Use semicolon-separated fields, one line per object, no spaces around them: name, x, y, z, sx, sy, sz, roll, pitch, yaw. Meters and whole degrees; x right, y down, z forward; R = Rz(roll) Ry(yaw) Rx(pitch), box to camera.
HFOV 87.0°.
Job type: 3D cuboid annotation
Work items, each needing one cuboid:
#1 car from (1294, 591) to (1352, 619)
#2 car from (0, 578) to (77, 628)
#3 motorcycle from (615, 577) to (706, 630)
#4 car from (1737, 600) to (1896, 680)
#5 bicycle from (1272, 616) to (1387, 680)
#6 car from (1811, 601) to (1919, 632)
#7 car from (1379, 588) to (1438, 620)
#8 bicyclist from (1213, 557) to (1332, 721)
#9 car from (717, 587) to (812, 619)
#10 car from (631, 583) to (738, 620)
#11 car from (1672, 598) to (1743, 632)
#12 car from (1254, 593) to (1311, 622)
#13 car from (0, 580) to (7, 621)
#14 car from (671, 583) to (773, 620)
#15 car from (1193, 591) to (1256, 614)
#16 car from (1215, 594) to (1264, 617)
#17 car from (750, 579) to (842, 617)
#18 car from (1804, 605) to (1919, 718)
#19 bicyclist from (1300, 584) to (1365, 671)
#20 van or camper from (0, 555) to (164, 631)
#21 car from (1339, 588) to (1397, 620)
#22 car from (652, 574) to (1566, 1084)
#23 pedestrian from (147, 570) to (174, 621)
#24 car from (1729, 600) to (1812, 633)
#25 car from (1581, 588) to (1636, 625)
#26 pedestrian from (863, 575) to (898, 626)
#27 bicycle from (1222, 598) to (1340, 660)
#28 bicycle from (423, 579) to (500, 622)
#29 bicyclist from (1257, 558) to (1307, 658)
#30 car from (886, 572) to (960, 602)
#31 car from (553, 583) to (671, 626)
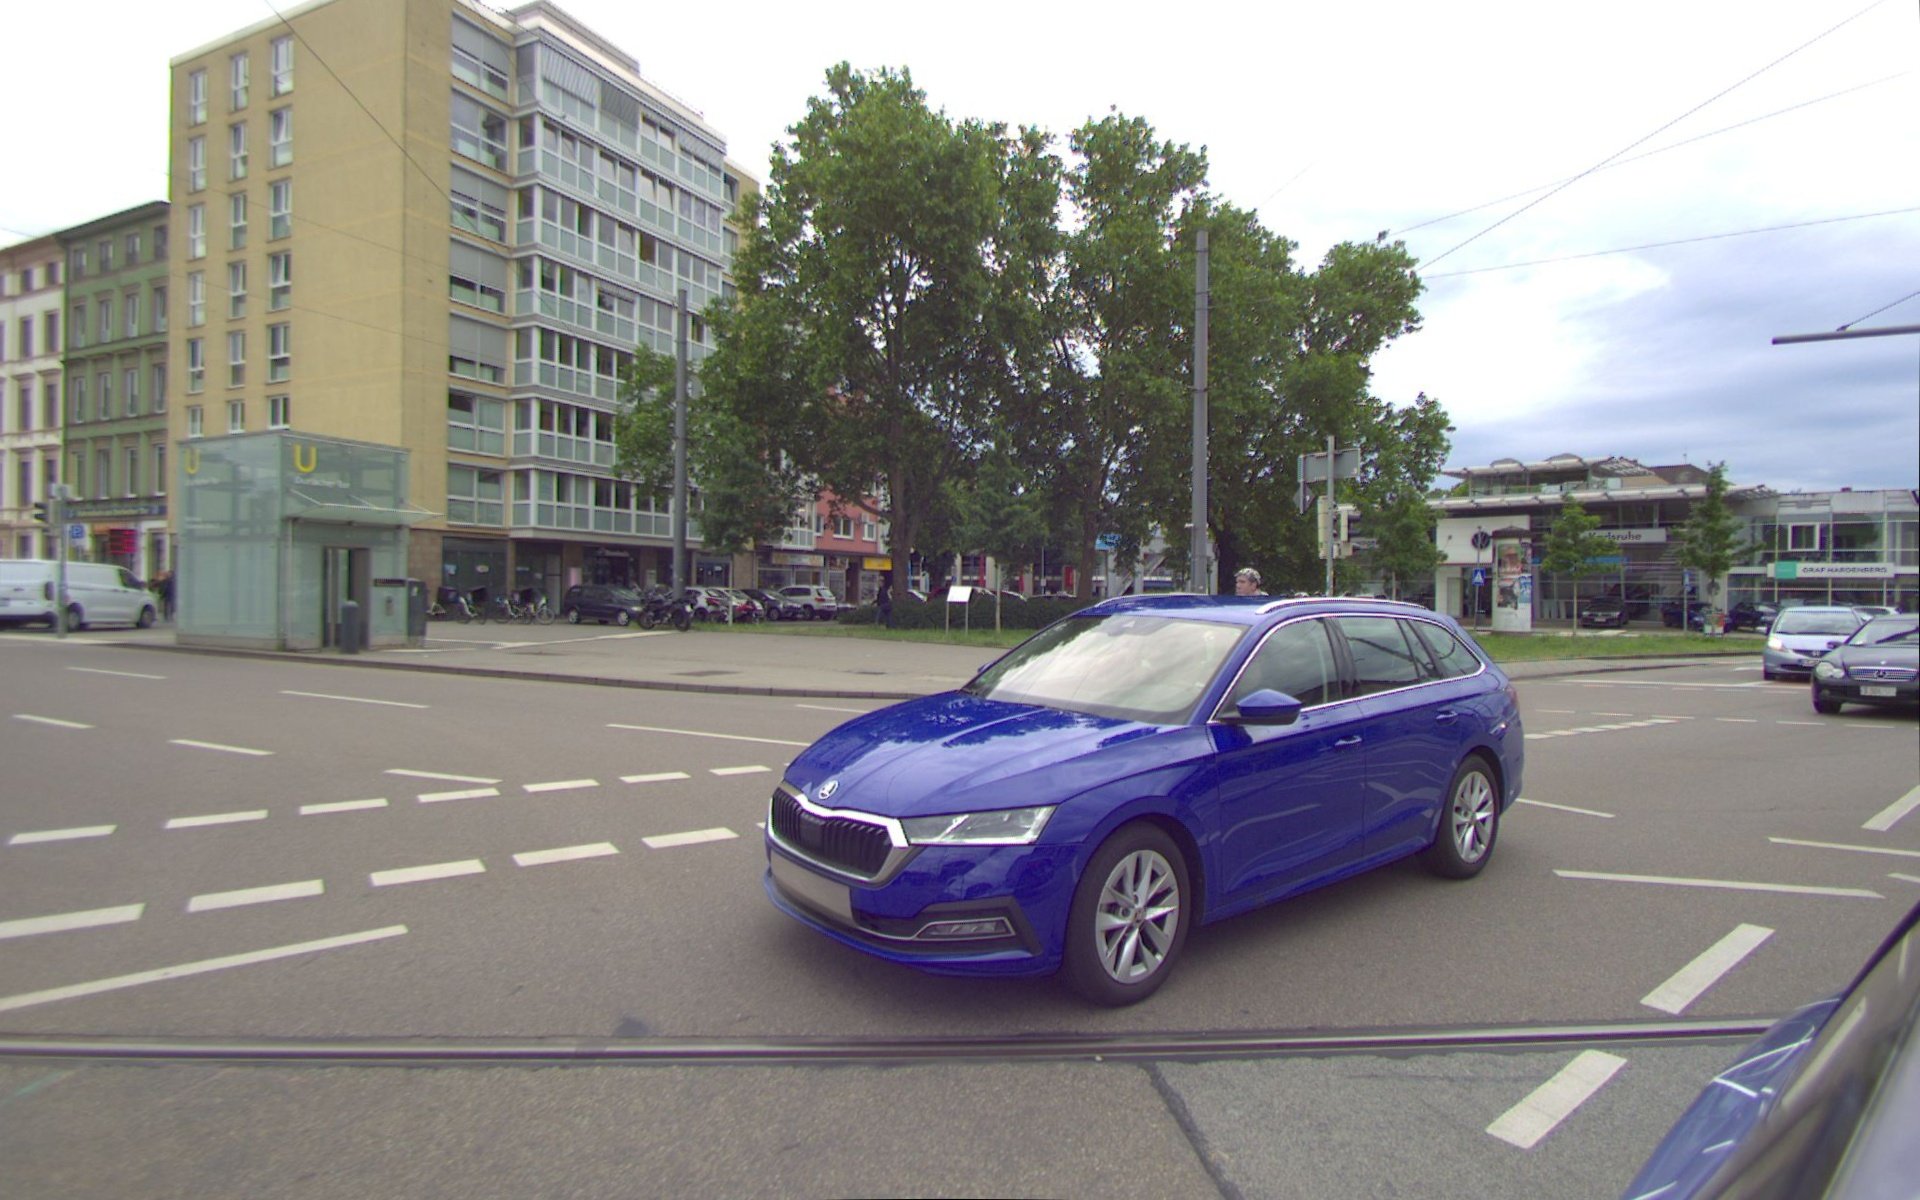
car;24.402;0.286;67.952;4.162;1.484;1.953;-6;5;-43
car;-28.849;0.062;30.463;1.700;1.435;3.745;1;0;-10
motorcycle;-8.435;0.073;28.516;2.263;1.383;1.041;2;2;19
car;17.573;0.769;20.716;3.861;1.502;1.709;1;-1;-38
bicycle;7.076;0.900;19.435;1.938;1.010;0.593;6;3;39
car;44.734;0.790;50.014;1.702;1.459;3.902;1;0;-40
car;28.318;0.199;63.822;4.165;1.472;1.953;-10;7;-43
bicyclist;3.304;0.396;10.730;0.915;1.639;0.791;1;-2;-33
car;-9.077;0.130;46.938;3.948;1.352;1.826;2;1;18
car;-11.538;0.041;42.457;3.950;1.482;1.987;1;0;20
car;38.716;0.756;52.515;1.934;1.544;4.199;1;2;22
car;22.295;0.519;69.929;4.163;1.530;1.953;-8;6;-43
car;-31.118;0.030;30.745;1.645;1.320;3.746;1;1;-16
car;-10.592;0.049;45.103;3.948;1.460;1.988;2;1;18
car;18.865;0.167;72.386;1.627;1.531;4.142;0;1;-42
car;20.326;0.383;73.675;1.417;1.531;3.116;-5;4;-42
car;-7.949;-0.104;49.124;3.949;1.745;1.988;1;1;19
car;13.752;0.781;14.276;4.338;1.388;1.771;0;0;-35
bicyclist;7.143;0.511;19.422;0.882;1.540;0.662;6;3;39
van or camper;-25.802;-0.231;29.298;2.127;2.003;5.477;1;1;-12
car;26.564;0.210;65.874;4.163;1.615;1.953;-8;6;-43
car;1.074;0.658;5.033;4.669;1.454;1.770;1;0;-38
pedestrian;-27.819;-0.165;35.217;0.822;1.737;0.607;2;0;44
car;41.185;0.806;51.514;1.765;1.580;4.016;1;0;14
car;35.723;0.326;55.703;1.949;1.662;4.609;1;4;41
pedestrian;-2.910;0.006;37.010;0.861;1.842;0.887;1;0;35
bicycle;5.832;0.510;18.452;1.978;1.010;0.573;2;3;33
bicycle;-16.680;0.003;33.849;2.759;1.395;0.894;1;0;30
bicyclist;5.868;0.136;18.435;0.729;1.773;0.579;-1;0;32
car;-2.169;-0.779;60.307;3.949;1.634;1.987;2;0;20
car;-13.081;0.153;37.998;4.125;1.461;1.825;2;1;26
